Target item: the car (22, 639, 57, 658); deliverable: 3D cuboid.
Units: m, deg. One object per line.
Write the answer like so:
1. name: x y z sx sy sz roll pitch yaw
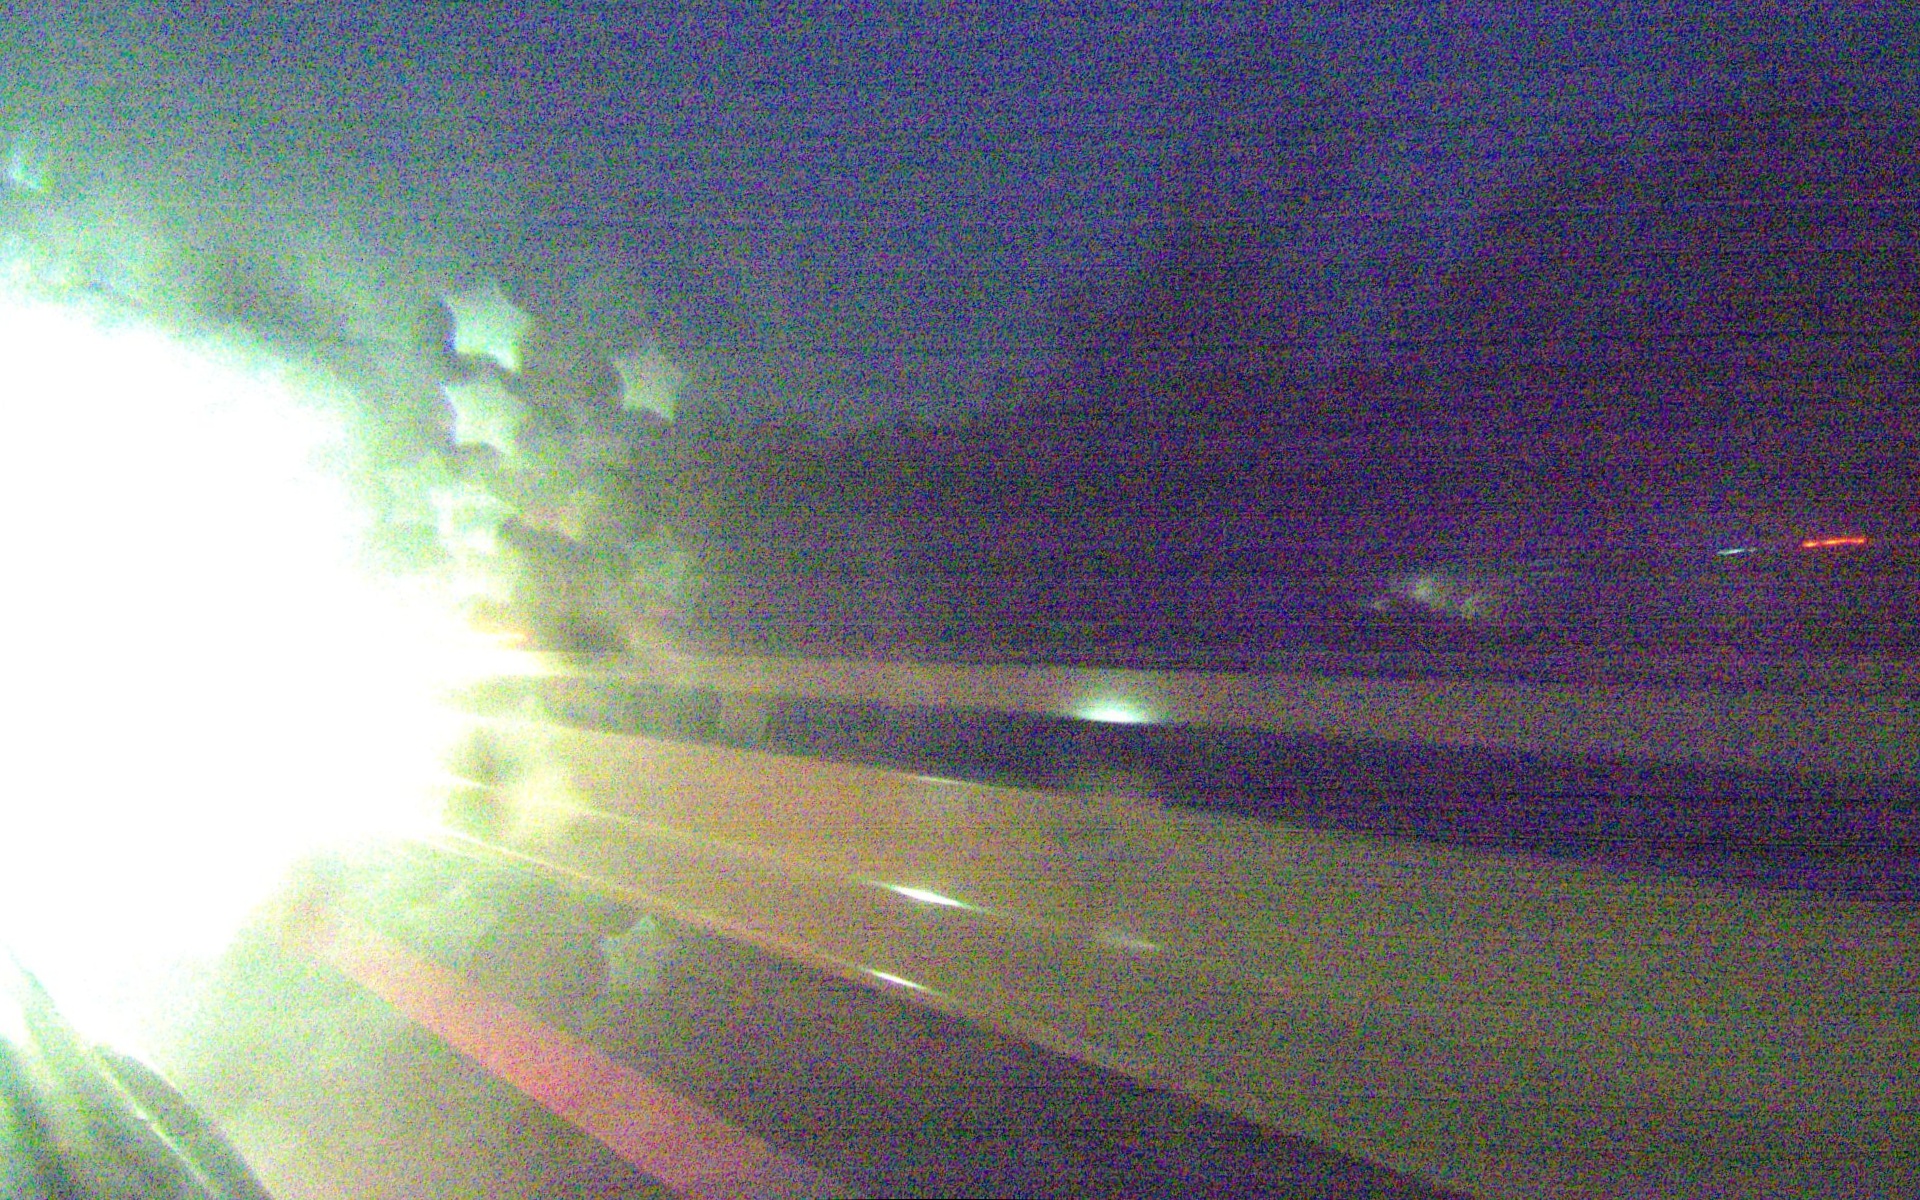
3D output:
1. car: -88.149 4.615 96.887 4.669 1.537 1.972 -2 2 42

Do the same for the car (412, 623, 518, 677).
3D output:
1. car: -18.257 1.803 37.261 4.286 1.732 1.973 -2 2 42

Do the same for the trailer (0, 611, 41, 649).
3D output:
1. trailer: -120.634 3.807 129.673 13.717 4.578 2.595 -2 2 42
